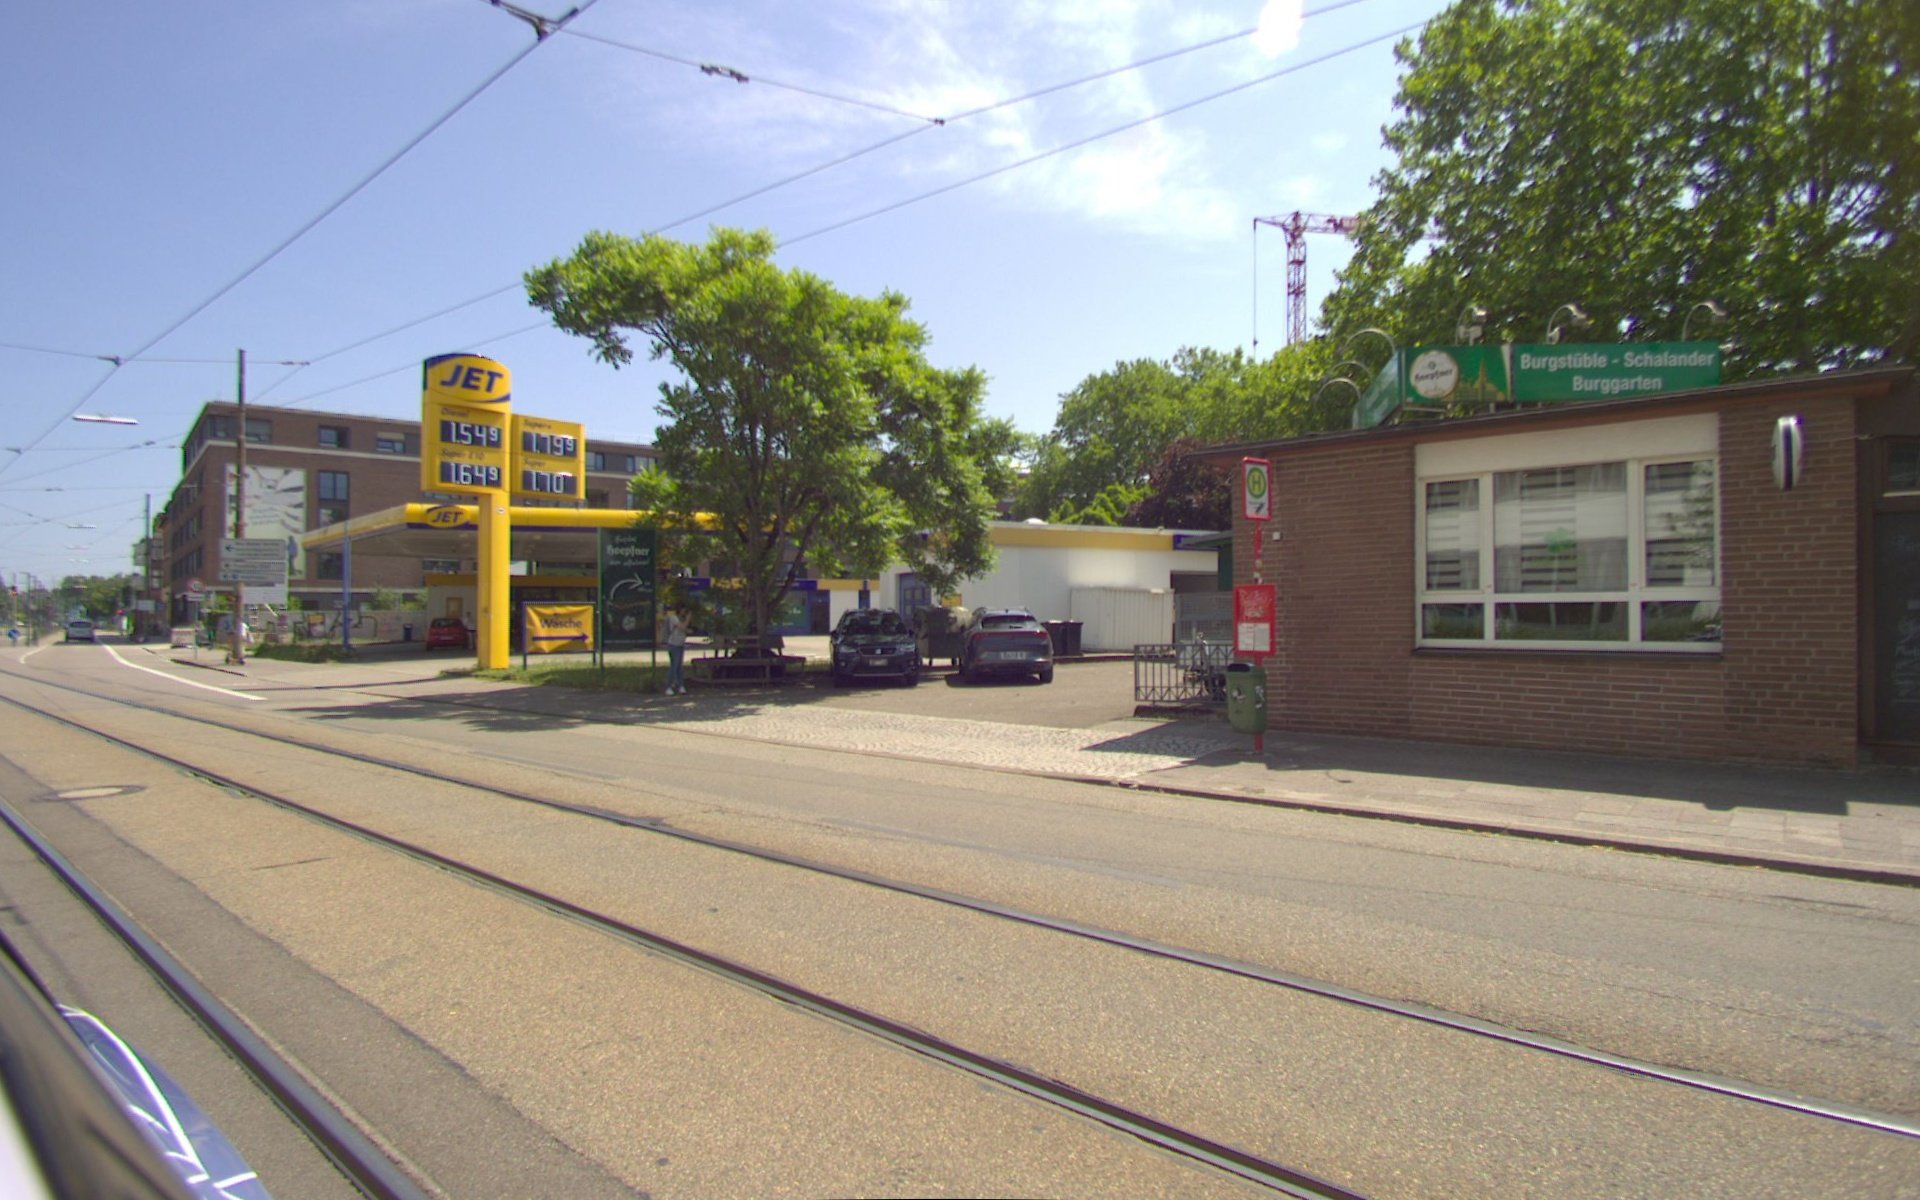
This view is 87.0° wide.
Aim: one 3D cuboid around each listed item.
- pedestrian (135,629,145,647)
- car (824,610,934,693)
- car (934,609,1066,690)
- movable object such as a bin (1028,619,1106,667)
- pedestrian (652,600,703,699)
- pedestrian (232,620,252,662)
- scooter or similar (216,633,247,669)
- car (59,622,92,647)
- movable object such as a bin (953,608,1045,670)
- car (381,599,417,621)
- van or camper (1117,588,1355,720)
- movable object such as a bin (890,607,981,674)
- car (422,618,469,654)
[{"bbox_3d":[-75.808,3.501,93.575,0.596,1.608,0.716,1,-2,-44],"label":"pedestrian"},{"bbox_3d":[-1.827,0.991,21.332,1.904,1.500,4.460,-1,0,-9],"label":"car"},{"bbox_3d":[0.715,0.960,21.603,1.904,1.500,4.460,-1,0,-9],"label":"car"},{"bbox_3d":[2.740,1.082,26.057,1.384,1.146,1.569,-1,-1,-25],"label":"movable object such as a bin"},{"bbox_3d":[-5.257,0.905,18.825,0.698,1.789,0.574,-2,-1,38],"label":"pedestrian"},{"bbox_3d":[-29.173,1.654,41.134,0.617,1.704,0.724,1,-2,-37],"label":"pedestrian"},{"bbox_3d":[-25.389,1.753,35.252,1.375,1.209,0.513,-2,-1,39],"label":"scooter or similar"},{"bbox_3d":[-71.824,2.768,82.189,1.969,1.813,4.559,-1,0,-41],"label":"car"},{"bbox_3d":[0.953,0.953,25.520,1.499,1.443,2.106,-1,-1,-25],"label":"movable object such as a bin"},{"bbox_3d":[-40.006,0.742,72.104,1.709,1.479,4.009,0,-1,-37],"label":"car"},{"bbox_3d":[4.089,0.685,14.654,1.870,1.641,3.745,-3,-1,41],"label":"van or camper"},{"bbox_3d":[-0.637,0.968,24.837,1.499,1.521,2.106,-1,-1,-25],"label":"movable object such as a bin"},{"bbox_3d":[-23.352,1.643,46.022,1.800,1.516,4.212,-2,-2,-26],"label":"car"}]
